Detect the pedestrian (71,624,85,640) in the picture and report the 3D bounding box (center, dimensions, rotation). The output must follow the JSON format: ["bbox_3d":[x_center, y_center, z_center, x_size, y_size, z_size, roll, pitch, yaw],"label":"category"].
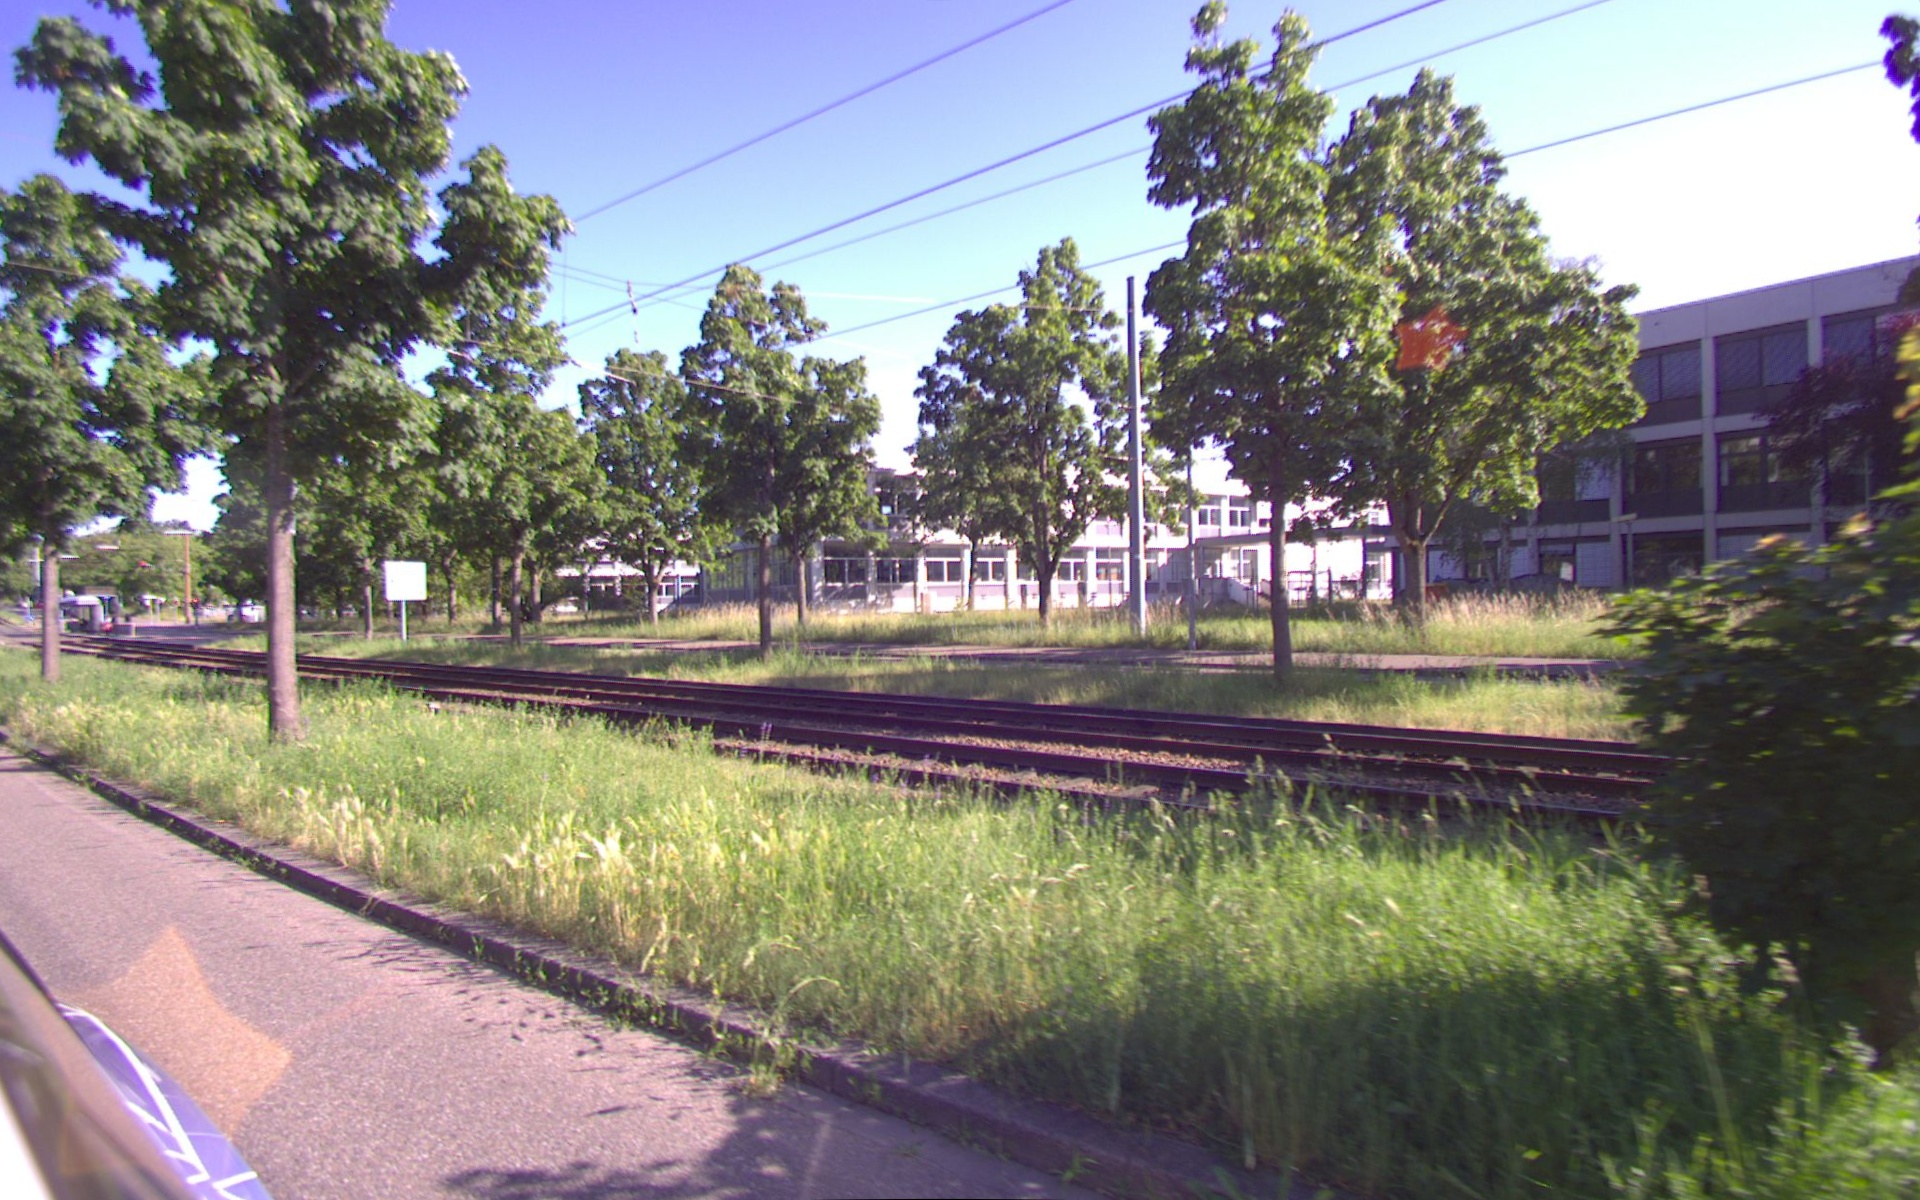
[{"bbox_3d":[-70.707,2.576,81.155,0.679,1.258,0.643,-1,-3,33],"label":"pedestrian"}]

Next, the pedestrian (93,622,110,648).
[{"bbox_3d":[-60.182,2.433,70.936,0.781,1.765,0.776,-1,0,41],"label":"pedestrian"}]

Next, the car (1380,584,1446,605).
[{"bbox_3d":[30.716,-0.391,68.559,4.472,1.276,1.853,-2,0,-31],"label":"car"}]

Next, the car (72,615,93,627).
[{"bbox_3d":[-123.261,2.939,142.160,3.454,1.597,1.749,-1,-1,41],"label":"car"}]

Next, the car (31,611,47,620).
[{"bbox_3d":[-166.059,2.719,182.422,3.454,1.597,1.679,-1,-1,41],"label":"car"}]

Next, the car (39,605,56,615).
[{"bbox_3d":[-150.910,1.686,167.277,3.454,1.597,1.679,-1,-1,41],"label":"car"}]
